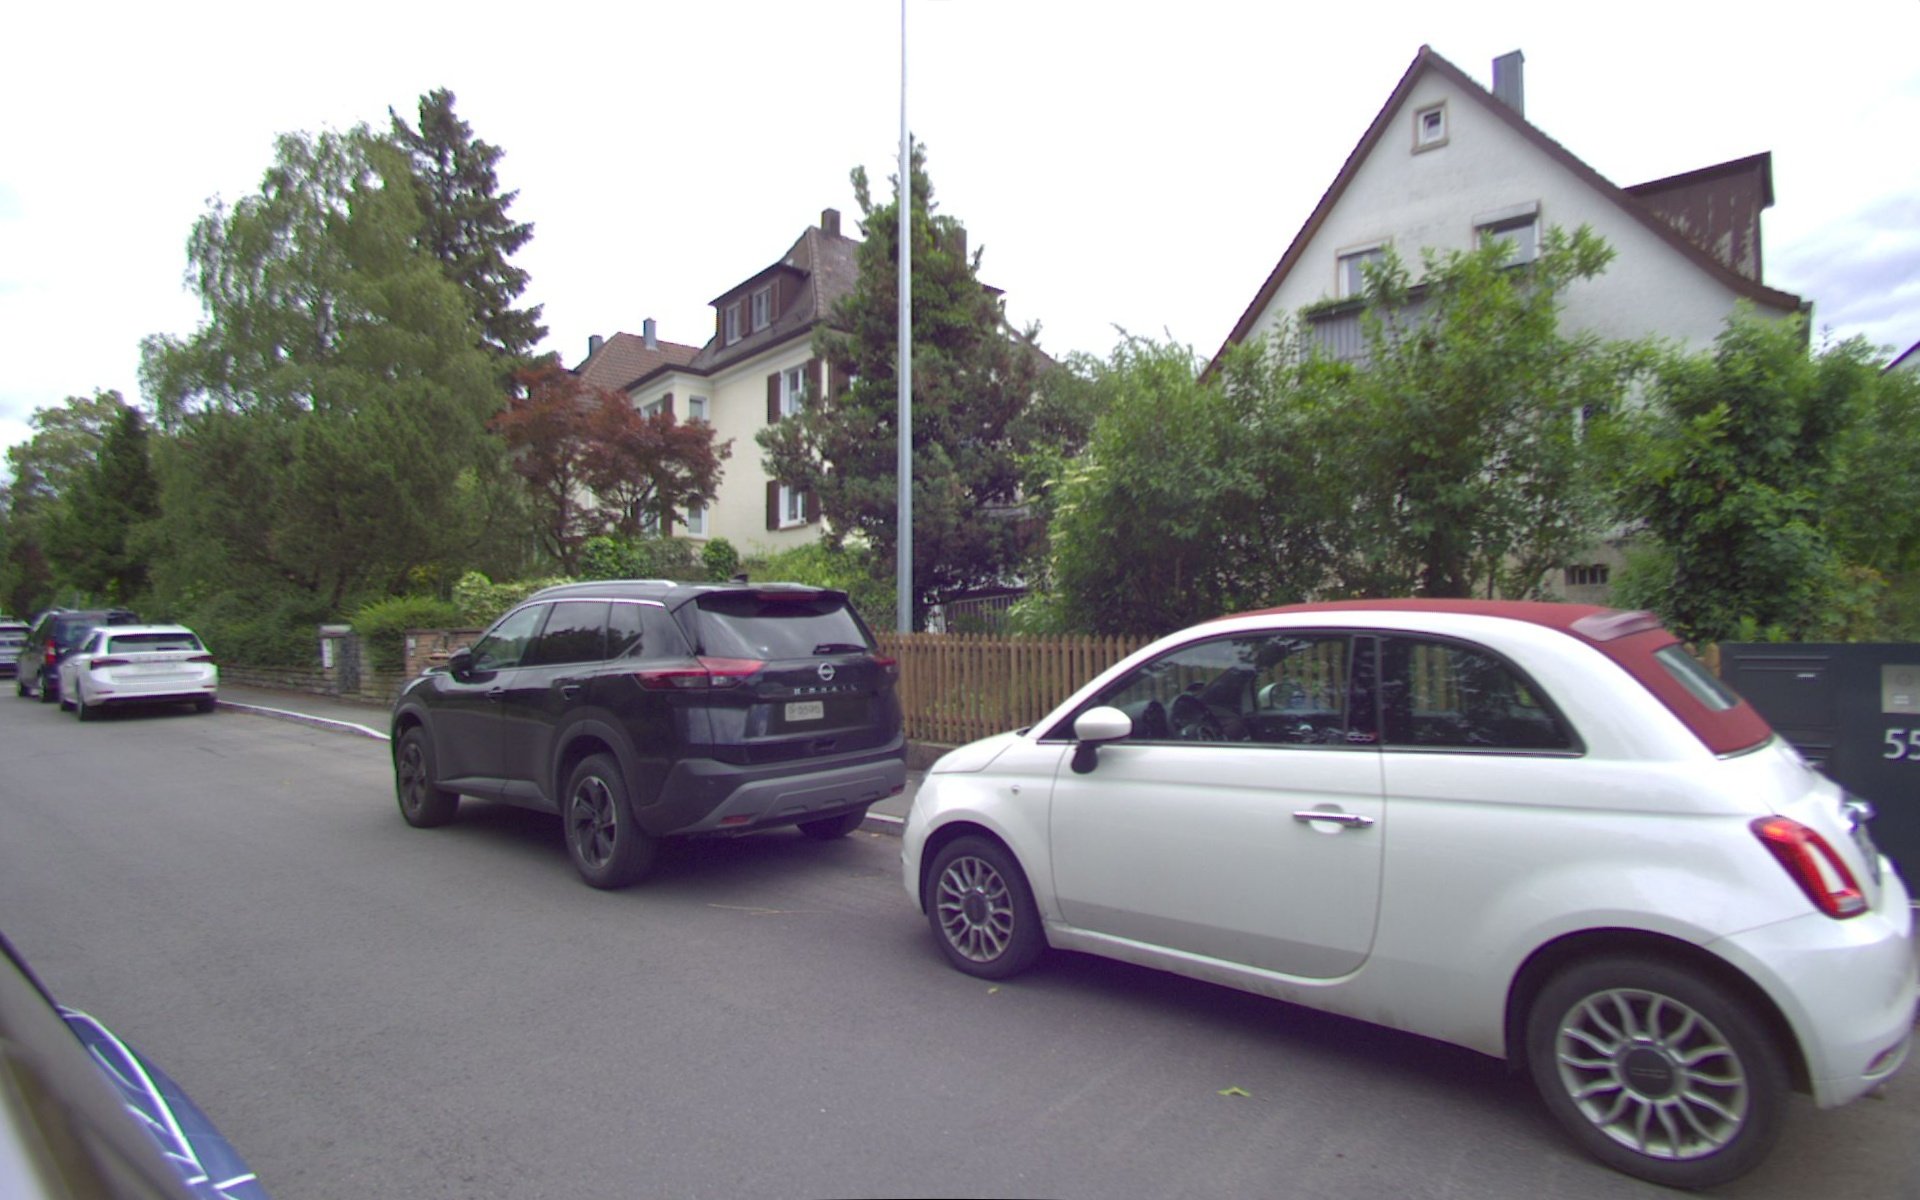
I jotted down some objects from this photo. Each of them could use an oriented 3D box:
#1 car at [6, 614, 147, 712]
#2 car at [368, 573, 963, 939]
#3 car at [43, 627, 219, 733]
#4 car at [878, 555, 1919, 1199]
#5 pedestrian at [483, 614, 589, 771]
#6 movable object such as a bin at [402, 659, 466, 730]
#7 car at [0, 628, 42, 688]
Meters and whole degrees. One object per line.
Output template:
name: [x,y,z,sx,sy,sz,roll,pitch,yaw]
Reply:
car: [-18.360,1.243,20.973,4.296,1.813,1.689,-2,-2,42]
car: [-2.214,0.772,6.786,4.390,1.677,1.773,-2,-2,42]
car: [-14.052,1.254,17.055,4.554,1.523,1.688,-2,-2,43]
car: [1.701,0.698,3.618,3.943,1.523,1.689,-2,-1,41]
pedestrian: [-4.549,0.953,10.850,0.820,1.586,0.761,-2,-2,42]
movable object such as a bin: [-7.474,1.328,14.380,0.654,0.939,0.605,-2,-1,40]
car: [-28.235,1.671,29.393,4.727,1.619,1.777,-2,-1,41]
